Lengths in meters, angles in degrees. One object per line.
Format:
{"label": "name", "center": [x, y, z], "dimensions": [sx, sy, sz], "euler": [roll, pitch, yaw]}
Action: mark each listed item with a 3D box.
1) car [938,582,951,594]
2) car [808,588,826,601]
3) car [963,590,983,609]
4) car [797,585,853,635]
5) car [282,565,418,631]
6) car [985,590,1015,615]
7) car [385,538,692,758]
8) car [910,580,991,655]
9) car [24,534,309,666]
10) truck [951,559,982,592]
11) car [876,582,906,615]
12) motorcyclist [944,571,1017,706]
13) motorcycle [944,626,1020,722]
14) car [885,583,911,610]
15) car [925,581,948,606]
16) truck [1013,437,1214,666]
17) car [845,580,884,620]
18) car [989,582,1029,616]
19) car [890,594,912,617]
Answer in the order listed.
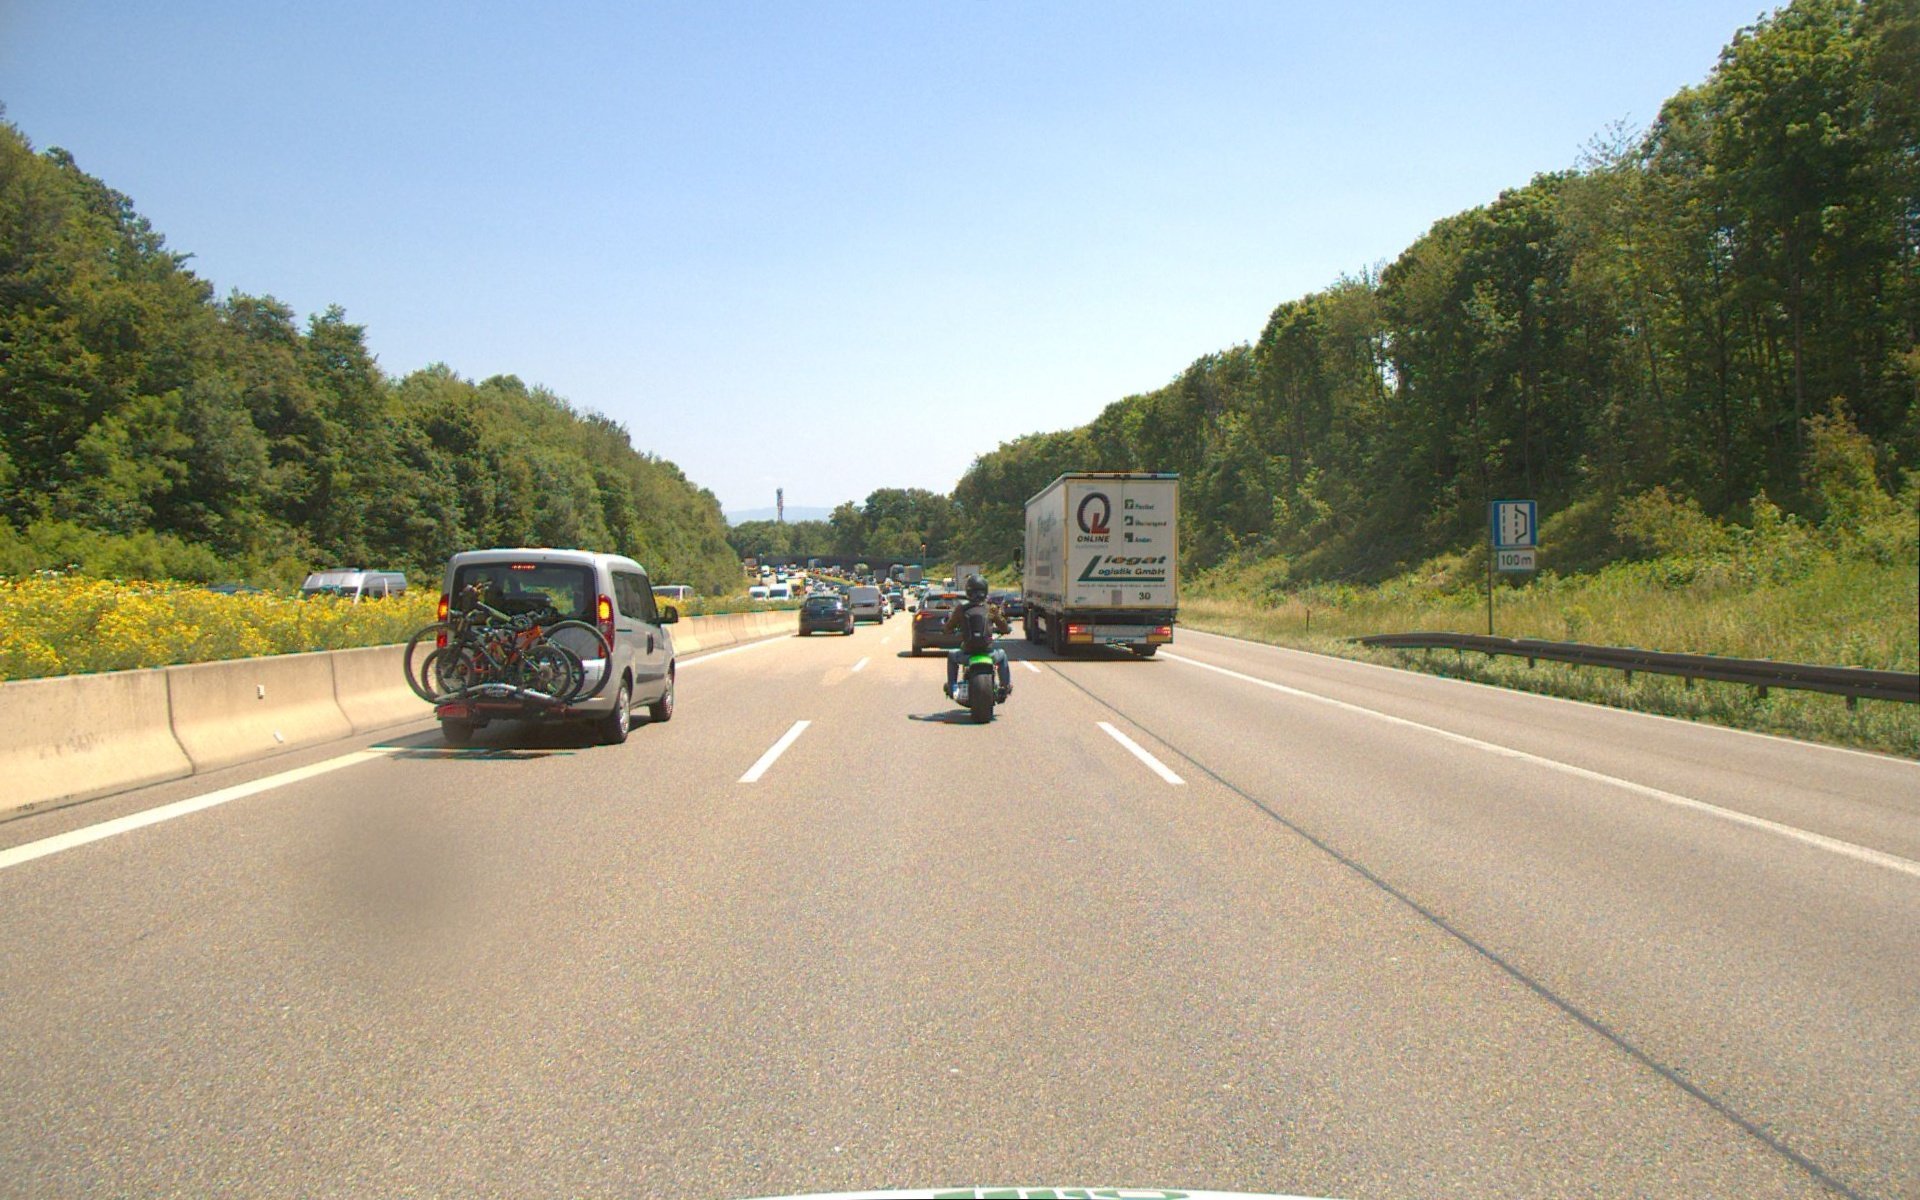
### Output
{"label": "car", "center": [-2.147, -1.724, 231.936], "dimensions": [1.794, 1.585, 4.119], "euler": [0, 2, -1]}
{"label": "car", "center": [-18.923, -0.696, 219.494], "dimensions": [1.872, 1.719, 4.831], "euler": [1, 0, 0]}
{"label": "car", "center": [1.215, -0.048, 155.912], "dimensions": [1.794, 1.585, 4.119], "euler": [0, 2, -1]}
{"label": "car", "center": [-4.739, 0.327, 58.422], "dimensions": [1.722, 1.570, 4.394], "euler": [0, 2, -1]}
{"label": "car", "center": [-18.417, -0.053, 50.235], "dimensions": [2.002, 1.839, 5.506], "euler": [1, 0, 0]}
{"label": "car", "center": [2.705, 0.142, 112.879], "dimensions": [1.794, 1.585, 4.119], "euler": [0, 2, -1]}
{"label": "car", "center": [-4.081, 0.395, 17.024], "dimensions": [1.860, 1.880, 5.482], "euler": [0, 0, -1]}
{"label": "car", "center": [-0.267, 0.371, 39.257], "dimensions": [1.808, 1.584, 4.439], "euler": [0, 2, -1]}
{"label": "car", "center": [-11.549, 0.008, 24.512], "dimensions": [1.811, 1.719, 4.895], "euler": [1, 0, 0]}
{"label": "truck", "center": [0.664, -2.679, 177.540], "dimensions": [3.005, 3.404, 9.651], "euler": [1, 1, -1]}
{"label": "car", "center": [-4.231, -0.109, 101.835], "dimensions": [1.794, 1.842, 4.119], "euler": [0, 2, -1]}
{"label": "motorcyclist", "center": [0.235, 0.434, 19.445], "dimensions": [0.838, 1.541, 0.914], "euler": [0, 1, 0]}
{"label": "motorcycle", "center": [0.245, 0.841, 19.493], "dimensions": [0.844, 0.999, 2.131], "euler": [0, 1, 0]}
{"label": "car", "center": [-4.404, -0.266, 117.945], "dimensions": [1.794, 1.842, 4.119], "euler": [0, 2, -1]}
{"label": "car", "center": [-1.869, -0.538, 132.005], "dimensions": [1.794, 1.842, 4.119], "euler": [0, 2, -1]}
{"label": "truck", "center": [3.582, -1.253, 44.265], "dimensions": [3.315, 4.799, 17.707], "euler": [1, 1, -1]}
{"label": "car", "center": [-4.698, -0.041, 81.938], "dimensions": [1.794, 1.842, 4.119], "euler": [0, 2, -1]}
{"label": "car", "center": [2.422, -0.072, 82.820], "dimensions": [1.794, 1.585, 4.119], "euler": [0, 2, -1]}
{"label": "car", "center": [-5.030, 0.435, 140.215], "dimensions": [1.794, 1.842, 4.119], "euler": [0, 2, -1]}
